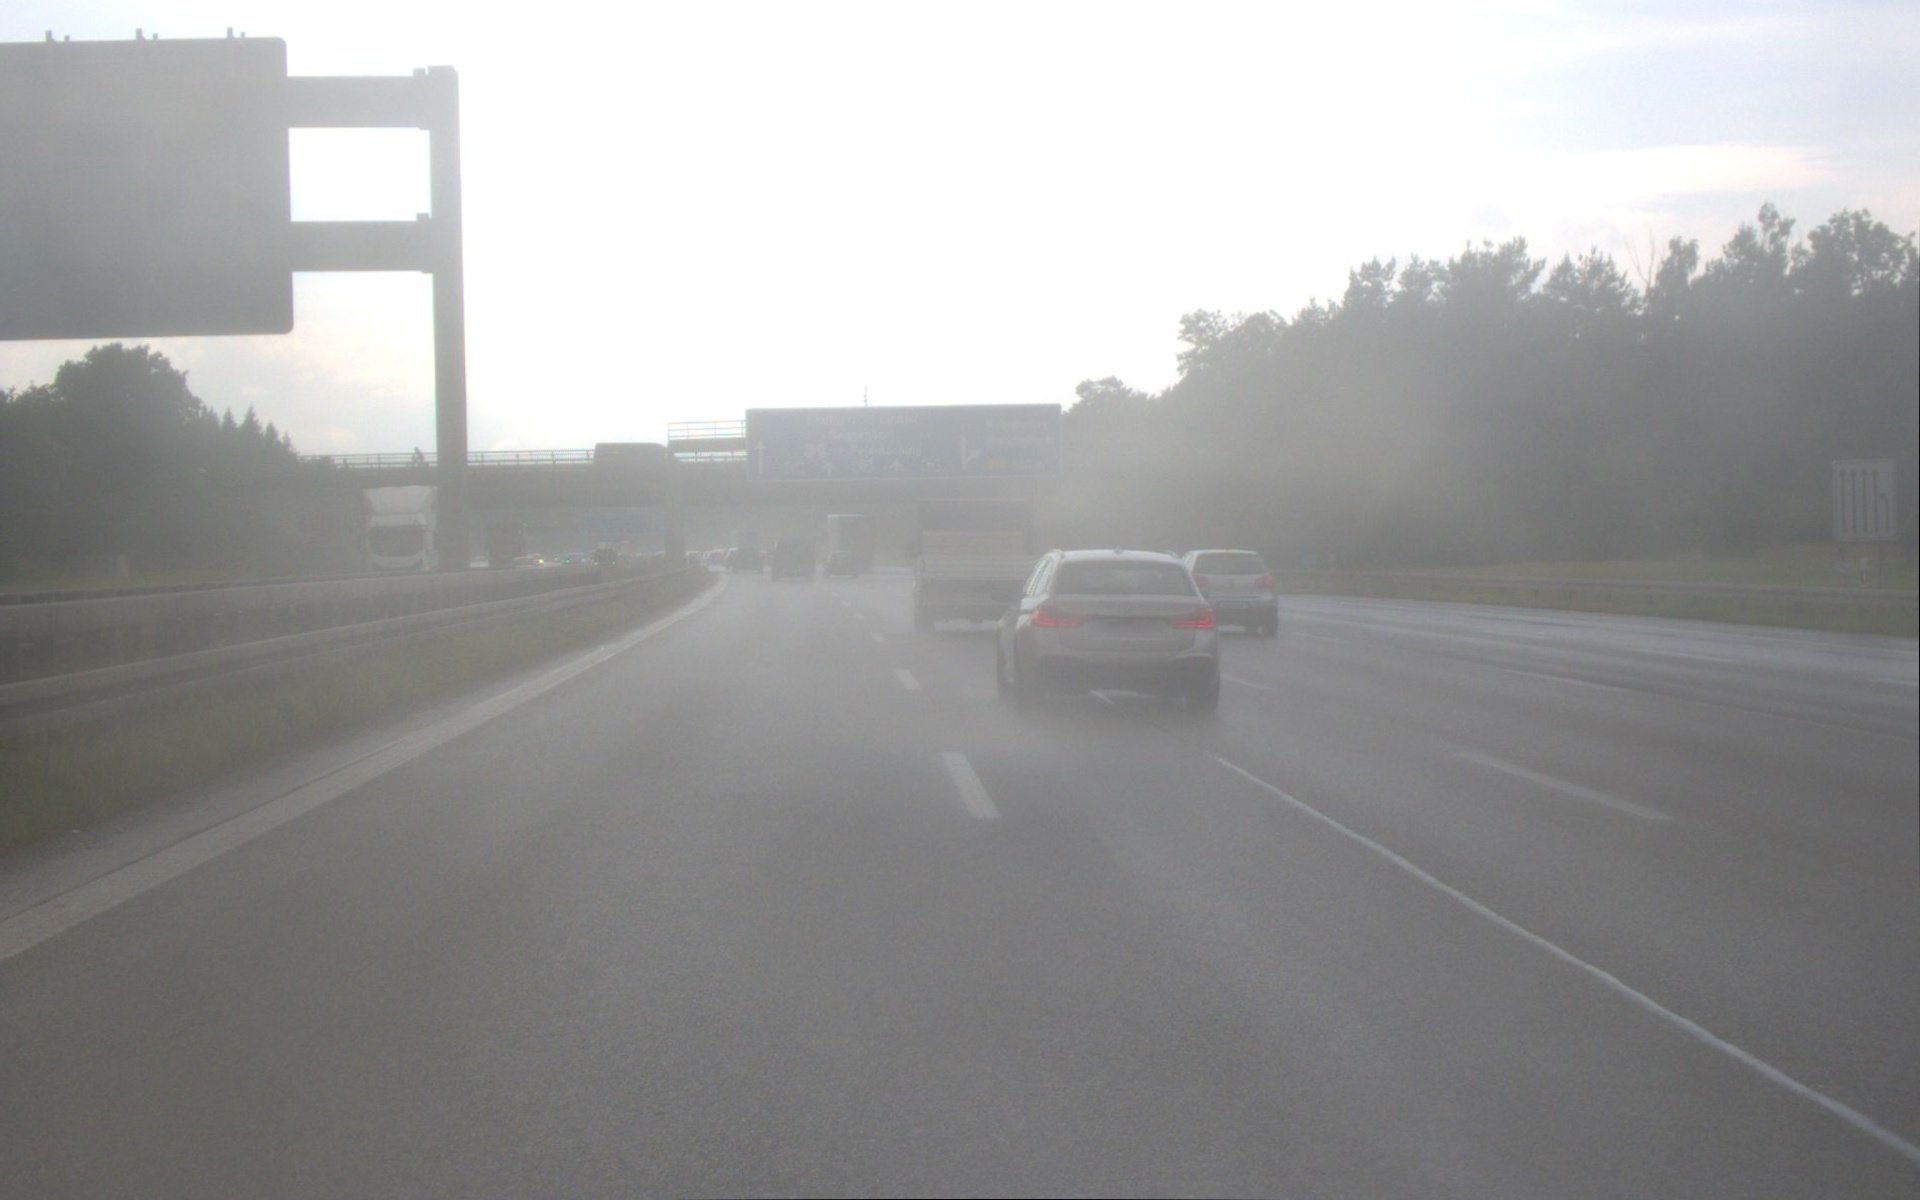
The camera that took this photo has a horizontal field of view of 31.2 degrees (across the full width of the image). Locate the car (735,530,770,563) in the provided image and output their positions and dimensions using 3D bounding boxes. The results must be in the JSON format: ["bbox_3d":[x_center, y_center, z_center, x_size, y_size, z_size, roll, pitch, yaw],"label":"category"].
[{"bbox_3d":[-12.836,-3.303,212.891,1.993,2.007,4.000,0,1,-1],"label":"car"}]

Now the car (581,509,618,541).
[{"bbox_3d":[-22.807,-4.724,217.660,1.993,2.007,4.000,0,1,-1],"label":"car"}]

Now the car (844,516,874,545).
[{"bbox_3d":[-7.184,-4.931,244.761,1.993,2.007,4.000,1,1,-1],"label":"car"}]

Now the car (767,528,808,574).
[{"bbox_3d":[-7.871,-2.260,156.830,1.674,2.007,4.000,1,1,-1],"label":"car"}]

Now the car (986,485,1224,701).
[{"bbox_3d":[1.371,-0.108,32.635,2.078,1.878,5.011,0,1,2],"label":"car"}]

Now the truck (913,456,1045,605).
[{"bbox_3d":[0.382,-1.217,59.903,2.137,2.480,5.313,0,1,2],"label":"truck"}]

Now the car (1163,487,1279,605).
[{"bbox_3d":[4.578,-0.973,60.711,1.908,2.007,4.000,0,1,3],"label":"car"}]

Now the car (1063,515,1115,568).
[{"bbox_3d":[5.107,-2.331,135.604,1.994,2.007,4.000,1,1,3],"label":"car"}]
